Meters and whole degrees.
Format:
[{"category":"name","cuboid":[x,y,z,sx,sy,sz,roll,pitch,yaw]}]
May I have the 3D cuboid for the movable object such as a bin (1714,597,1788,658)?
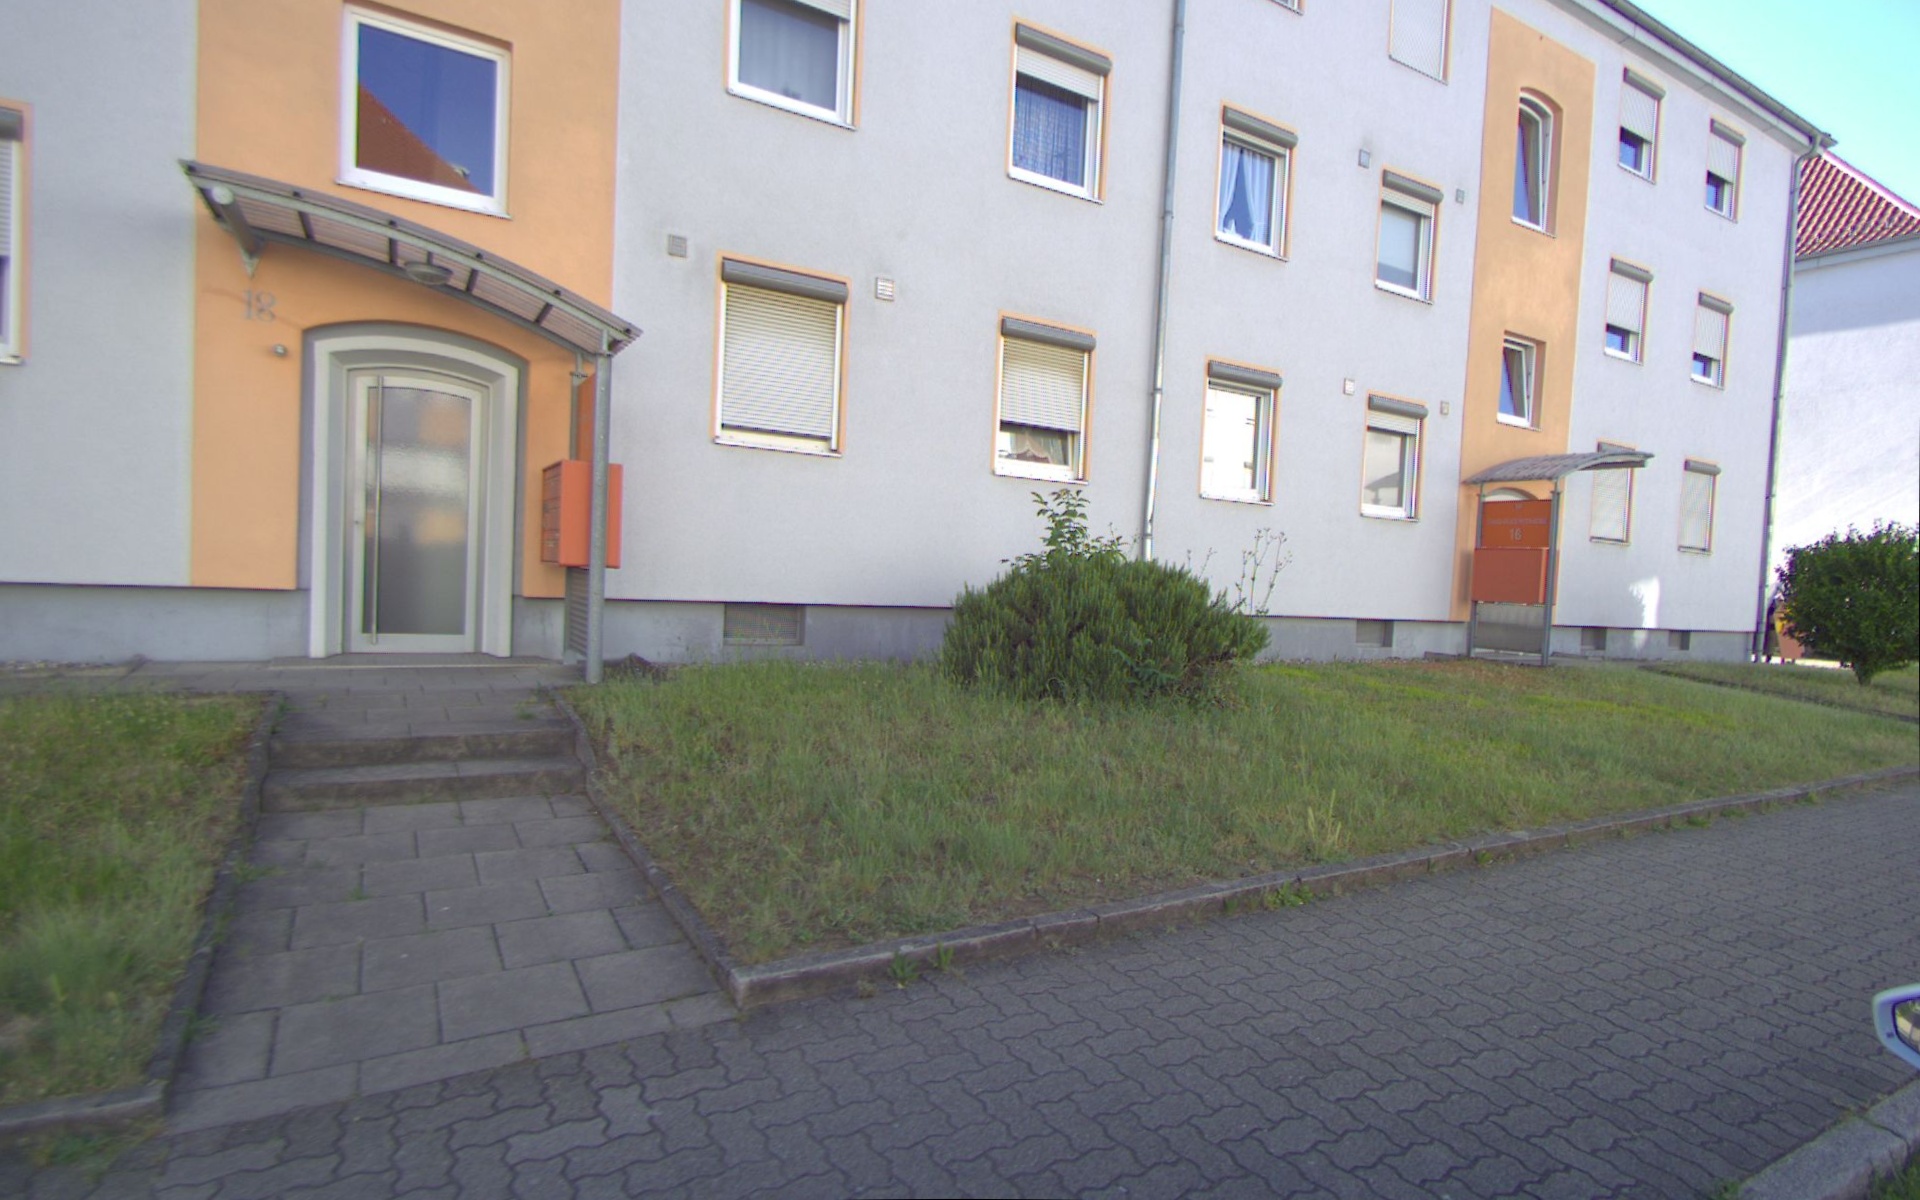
[{"category":"movable object such as a bin","cuboid":[19.301,0.657,24.511,0.899,1.374,1.238,1,2,-42]}]
